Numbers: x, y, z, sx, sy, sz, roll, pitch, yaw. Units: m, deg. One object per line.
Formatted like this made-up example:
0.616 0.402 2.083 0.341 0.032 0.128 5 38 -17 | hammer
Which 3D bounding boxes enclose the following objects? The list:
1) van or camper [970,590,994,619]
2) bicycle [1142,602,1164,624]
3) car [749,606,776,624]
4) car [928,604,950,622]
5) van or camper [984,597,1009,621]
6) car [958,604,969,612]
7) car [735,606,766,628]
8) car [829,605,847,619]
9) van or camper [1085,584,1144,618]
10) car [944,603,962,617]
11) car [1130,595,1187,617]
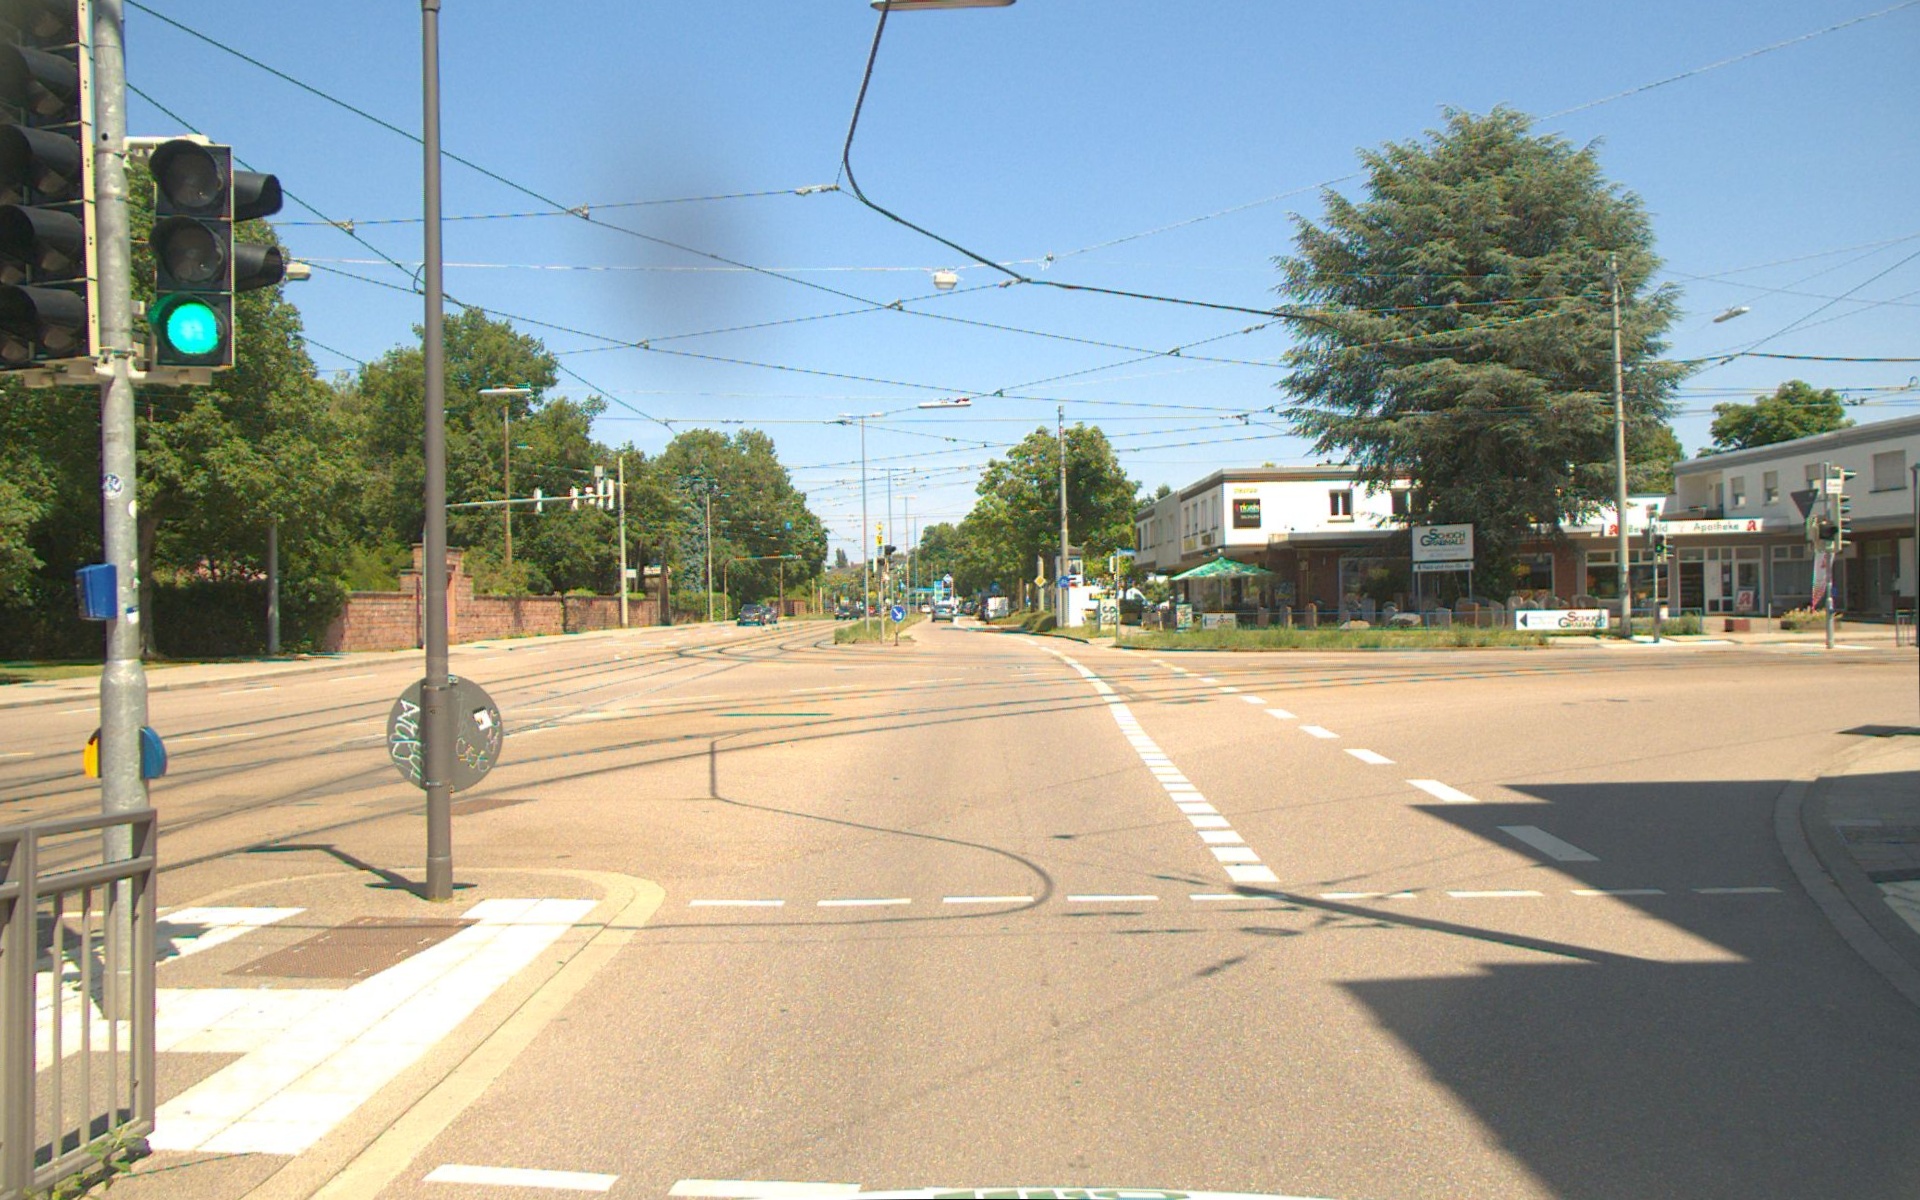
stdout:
1.985 0.413 149.168 1.954 2.507 3.998 -1 0 -3 | van or camper
9.506 0.649 81.378 1.012 1.032 2.639 -1 0 7 | bicycle
-16.600 1.254 139.201 1.607 1.446 4.169 -1 0 2 | car
-1.719 1.068 135.075 1.604 1.375 3.840 -1 0 -3 | car
2.794 0.690 126.973 1.883 1.803 4.000 -1 0 0 | van or camper
0.517 1.235 262.140 1.493 1.319 3.490 -1 0 -3 | car
-16.466 1.322 130.016 1.782 1.631 4.520 -1 0 1 | car
-12.867 1.281 174.522 1.608 1.424 4.115 -1 0 -1 | car
13.054 0.081 139.761 4.660 2.718 2.135 -1 0 -2 | van or camper
-0.800 1.058 179.340 1.638 1.460 3.470 -1 0 -6 | car
13.327 0.425 110.998 3.538 1.374 1.488 -1 0 -7 | car
